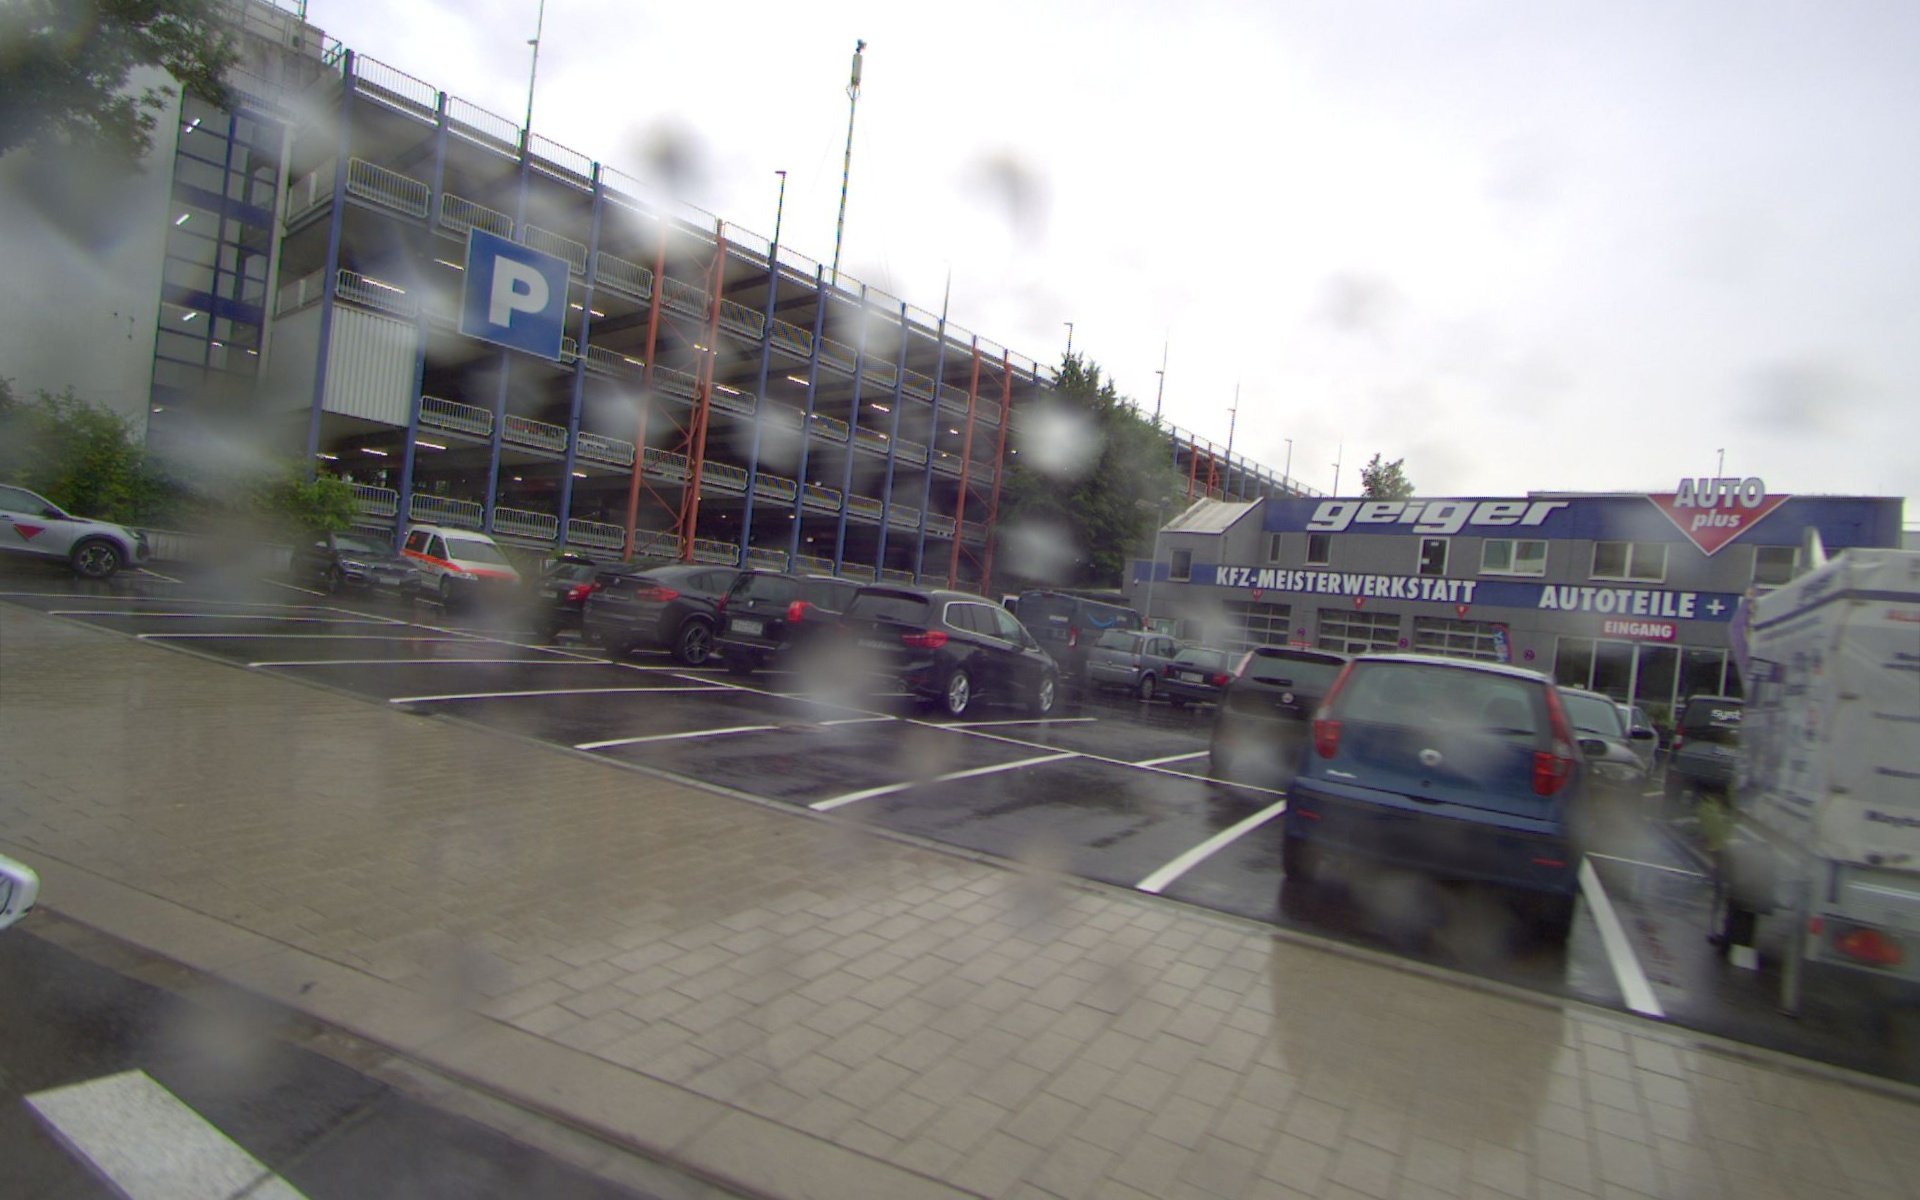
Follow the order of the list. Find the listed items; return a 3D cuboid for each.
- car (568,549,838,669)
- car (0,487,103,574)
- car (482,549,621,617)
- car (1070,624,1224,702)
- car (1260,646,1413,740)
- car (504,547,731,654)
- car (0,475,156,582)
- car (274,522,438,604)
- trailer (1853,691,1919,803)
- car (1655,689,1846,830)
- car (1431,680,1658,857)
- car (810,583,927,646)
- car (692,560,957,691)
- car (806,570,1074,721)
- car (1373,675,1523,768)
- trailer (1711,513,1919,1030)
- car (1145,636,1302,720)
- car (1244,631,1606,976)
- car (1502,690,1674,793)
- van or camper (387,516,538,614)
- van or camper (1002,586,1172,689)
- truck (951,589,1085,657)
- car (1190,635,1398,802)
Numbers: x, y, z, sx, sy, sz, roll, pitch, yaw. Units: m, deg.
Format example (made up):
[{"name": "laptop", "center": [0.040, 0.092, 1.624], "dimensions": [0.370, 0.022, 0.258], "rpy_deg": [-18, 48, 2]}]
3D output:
[{"name": "car", "center": [-4.136, 0.238, 16.952], "dimensions": [1.808, 1.578, 4.363], "rpy_deg": [7, -1, 29]}, {"name": "car", "center": [-19.346, -1.508, 19.679], "dimensions": [1.780, 1.513, 3.617], "rpy_deg": [7, 0, 39]}, {"name": "car", "center": [-11.204, -0.475, 27.501], "dimensions": [3.940, 1.371, 1.729], "rpy_deg": [7, 1, 38]}, {"name": "car", "center": [4.787, 1.626, 25.299], "dimensions": [1.838, 1.603, 4.351], "rpy_deg": [7, 0, 39]}, {"name": "car", "center": [8.468, 2.042, 22.423], "dimensions": [1.838, 1.688, 4.123], "rpy_deg": [7, 0, 39]}, {"name": "car", "center": [-6.212, 0.074, 18.622], "dimensions": [1.614, 1.518, 3.693], "rpy_deg": [7, -1, 31]}, {"name": "car", "center": [-17.294, -1.395, 17.986], "dimensions": [1.971, 1.671, 4.201], "rpy_deg": [7, 1, 40]}, {"name": "car", "center": [-14.375, -0.898, 23.869], "dimensions": [4.145, 1.459, 1.932], "rpy_deg": [6, -1, 39]}, {"name": "trailer", "center": [27.605, 4.374, 28.496], "dimensions": [5.861, 2.763, 2.901], "rpy_deg": [12, -6, -43]}, {"name": "car", "center": [13.650, 2.637, 17.273], "dimensions": [4.462, 1.851, 1.870], "rpy_deg": [7, 0, -44]}, {"name": "car", "center": [6.133, 1.643, 10.864], "dimensions": [1.663, 1.331, 3.735], "rpy_deg": [7, -1, 27]}, {"name": "car", "center": [-3.372, 0.503, 36.690], "dimensions": [3.946, 1.832, 1.892], "rpy_deg": [4, -6, 41]}, {"name": "car", "center": [-1.989, 0.496, 16.143], "dimensions": [1.756, 1.678, 4.361], "rpy_deg": [7, -1, 31]}, {"name": "car", "center": [-0.091, 0.696, 14.501], "dimensions": [1.813, 1.671, 4.364], "rpy_deg": [7, -1, 28]}, {"name": "car", "center": [10.361, 2.500, 21.192], "dimensions": [1.838, 1.516, 4.123], "rpy_deg": [7, 0, 39]}, {"name": "trailer", "center": [5.171, 0.888, 5.279], "dimensions": [1.523, 2.197, 2.705], "rpy_deg": [7, -1, 32]}, {"name": "car", "center": [6.317, 1.861, 23.785], "dimensions": [1.838, 1.603, 4.351], "rpy_deg": [7, 0, 39]}, {"name": "car", "center": [3.326, 1.127, 6.974], "dimensions": [1.622, 1.548, 3.731], "rpy_deg": [6, 0, 30]}, {"name": "car", "center": [12.144, 2.649, 19.345], "dimensions": [1.841, 1.516, 4.116], "rpy_deg": [7, 0, 45]}, {"name": "van or camper", "center": [-12.864, -0.941, 25.885], "dimensions": [4.400, 2.061, 1.835], "rpy_deg": [6, -1, 42]}, {"name": "van or camper", "center": [3.557, 1.087, 27.356], "dimensions": [2.189, 2.355, 4.951], "rpy_deg": [7, 0, 38]}, {"name": "truck", "center": [2.367, 0.931, 42.158], "dimensions": [5.233, 2.292, 1.995], "rpy_deg": [4, -6, 40]}, {"name": "car", "center": [4.137, 1.322, 12.051], "dimensions": [1.700, 1.466, 3.735], "rpy_deg": [7, -1, 27]}]
